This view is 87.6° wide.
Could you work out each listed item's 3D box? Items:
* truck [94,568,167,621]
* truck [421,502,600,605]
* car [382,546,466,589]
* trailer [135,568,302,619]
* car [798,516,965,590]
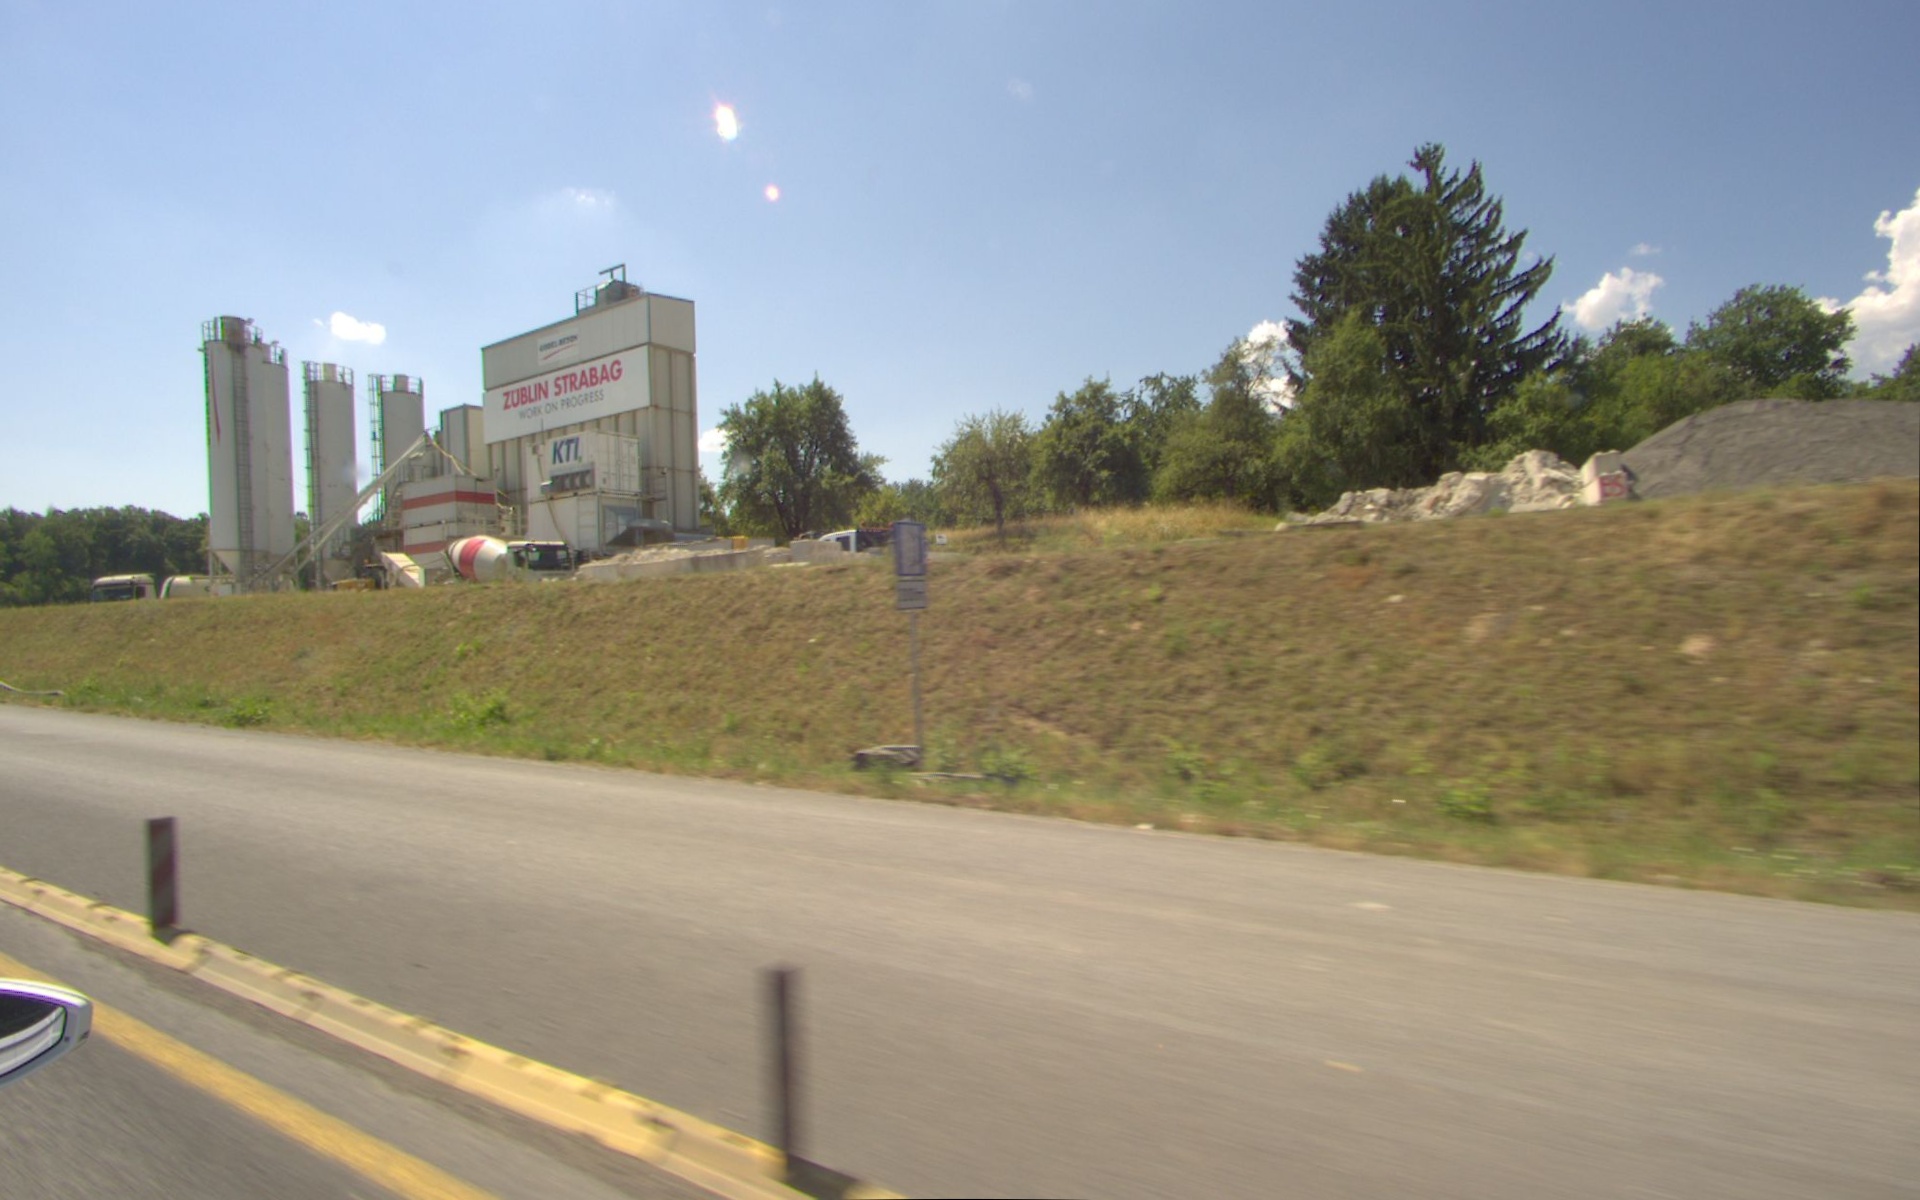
[{"bbox_3d":[-52.183,-0.303,63.142,2.866,3.154,5.975,0,0,-33],"label":"truck"},{"bbox_3d":[-21.463,-1.982,47.532,9.798,4.353,3.424,-1,0,37],"label":"truck"},{"bbox_3d":[-28.080,-1.662,52.435,4.364,2.040,1.989,-1,0,32],"label":"car"},{"bbox_3d":[-50.584,-0.354,68.709,3.271,3.271,9.012,0,-1,18],"label":"trailer"},{"bbox_3d":[-2.506,-1.382,31.496,4.921,2.040,2.219,-1,0,32],"label":"car"}]
